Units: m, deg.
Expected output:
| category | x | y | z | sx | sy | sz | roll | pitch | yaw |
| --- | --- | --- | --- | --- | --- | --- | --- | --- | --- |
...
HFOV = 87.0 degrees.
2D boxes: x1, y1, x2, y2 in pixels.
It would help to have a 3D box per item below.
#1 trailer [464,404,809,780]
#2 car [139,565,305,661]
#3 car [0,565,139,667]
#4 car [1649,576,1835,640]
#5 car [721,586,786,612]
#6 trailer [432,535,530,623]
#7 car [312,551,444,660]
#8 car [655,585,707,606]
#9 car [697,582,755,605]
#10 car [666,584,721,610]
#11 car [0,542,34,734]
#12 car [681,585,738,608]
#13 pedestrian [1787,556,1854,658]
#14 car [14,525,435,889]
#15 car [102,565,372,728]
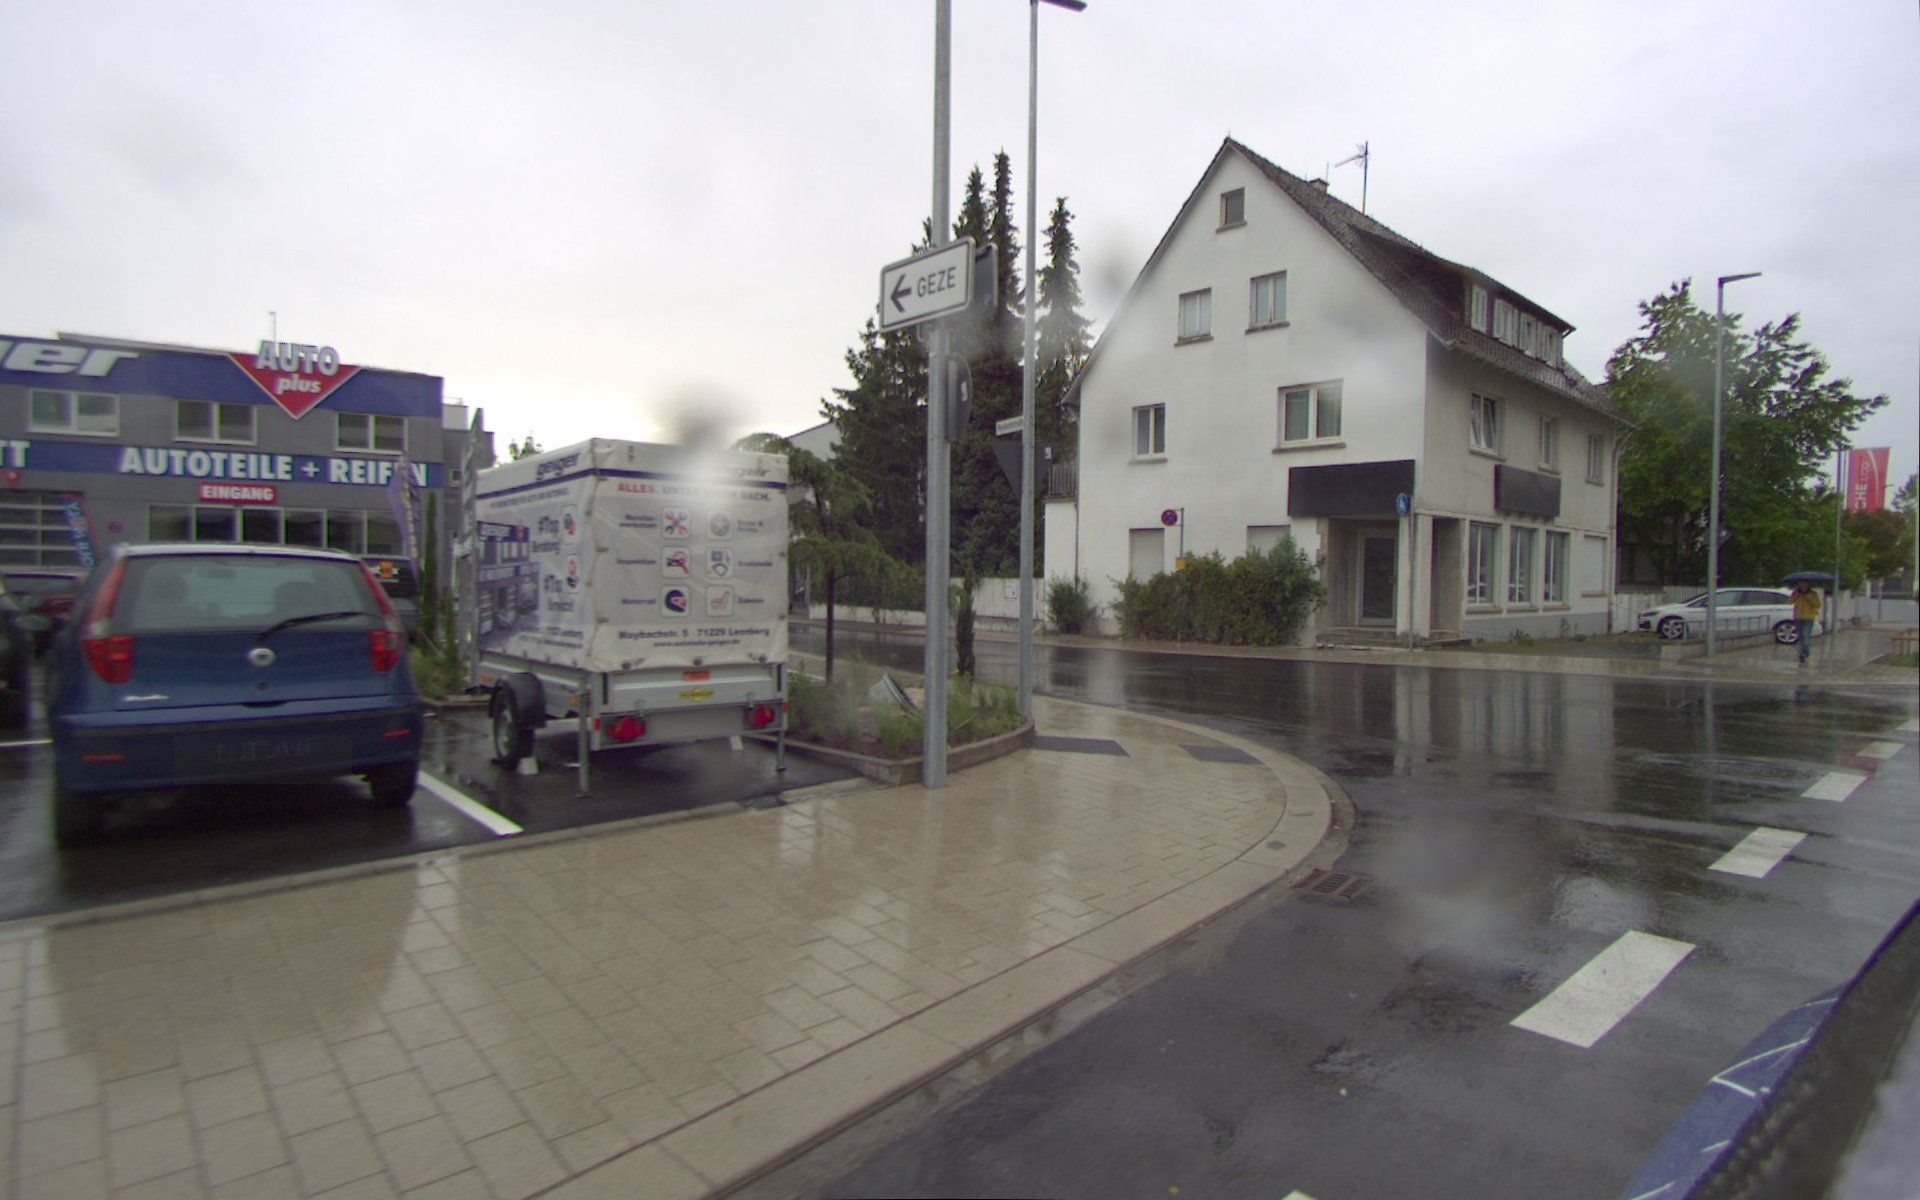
| category | x | y | z | sx | sy | sz | roll | pitch | yaw |
| --- | --- | --- | --- | --- | --- | --- | --- | --- | --- |
| trailer | -2.476 | -0.075 | 7.445 | 1.520 | 2.198 | 2.708 | 0 | 1 | -39 |
| car | -13.464 | 0.153 | 18.723 | 1.827 | 1.515 | 4.148 | 1 | 2 | -27 |
| car | -15.740 | 0.191 | 17.573 | 1.828 | 1.515 | 4.144 | 0 | 2 | -32 |
| car | 22.719 | 0.184 | 29.634 | 4.116 | 1.600 | 1.975 | 4 | 2 | 35 |
| car | -12.931 | -0.072 | 63.421 | 3.689 | 1.466 | 1.614 | -3 | -1 | -27 |
| trailer | -17.270 | -0.678 | 36.599 | 2.875 | 2.770 | 5.897 | -2 | -1 | -25 |
| car | -11.066 | 0.005 | 19.519 | 1.854 | 1.851 | 4.499 | 1 | 2 | -26 |
| car | -22.187 | -0.378 | 80.350 | 3.689 | 1.466 | 1.614 | -3 | -1 | -27 |
| car | -16.511 | -0.457 | 71.486 | 3.689 | 1.466 | 1.614 | -3 | -1 | -27 |
| car | -19.947 | -0.233 | 75.712 | 3.689 | 1.775 | 1.614 | -3 | -1 | -27 |
| car | -9.116 | 0.250 | 8.618 | 1.703 | 1.467 | 3.728 | 0 | 2 | -44 |
| car | -18.271 | -0.245 | 73.839 | 3.689 | 1.466 | 1.614 | -3 | -1 | -27 |
| pedestrian | 18.167 | 0.128 | 21.362 | 1.175 | 2.038 | 0.860 | 0 | 3 | -44 |
| car | -4.617 | 0.361 | 6.233 | 1.622 | 1.547 | 3.733 | -1 | 3 | -41 |
| car | -7.388 | 0.328 | 10.199 | 1.665 | 1.331 | 3.728 | 0 | 2 | -44 |
